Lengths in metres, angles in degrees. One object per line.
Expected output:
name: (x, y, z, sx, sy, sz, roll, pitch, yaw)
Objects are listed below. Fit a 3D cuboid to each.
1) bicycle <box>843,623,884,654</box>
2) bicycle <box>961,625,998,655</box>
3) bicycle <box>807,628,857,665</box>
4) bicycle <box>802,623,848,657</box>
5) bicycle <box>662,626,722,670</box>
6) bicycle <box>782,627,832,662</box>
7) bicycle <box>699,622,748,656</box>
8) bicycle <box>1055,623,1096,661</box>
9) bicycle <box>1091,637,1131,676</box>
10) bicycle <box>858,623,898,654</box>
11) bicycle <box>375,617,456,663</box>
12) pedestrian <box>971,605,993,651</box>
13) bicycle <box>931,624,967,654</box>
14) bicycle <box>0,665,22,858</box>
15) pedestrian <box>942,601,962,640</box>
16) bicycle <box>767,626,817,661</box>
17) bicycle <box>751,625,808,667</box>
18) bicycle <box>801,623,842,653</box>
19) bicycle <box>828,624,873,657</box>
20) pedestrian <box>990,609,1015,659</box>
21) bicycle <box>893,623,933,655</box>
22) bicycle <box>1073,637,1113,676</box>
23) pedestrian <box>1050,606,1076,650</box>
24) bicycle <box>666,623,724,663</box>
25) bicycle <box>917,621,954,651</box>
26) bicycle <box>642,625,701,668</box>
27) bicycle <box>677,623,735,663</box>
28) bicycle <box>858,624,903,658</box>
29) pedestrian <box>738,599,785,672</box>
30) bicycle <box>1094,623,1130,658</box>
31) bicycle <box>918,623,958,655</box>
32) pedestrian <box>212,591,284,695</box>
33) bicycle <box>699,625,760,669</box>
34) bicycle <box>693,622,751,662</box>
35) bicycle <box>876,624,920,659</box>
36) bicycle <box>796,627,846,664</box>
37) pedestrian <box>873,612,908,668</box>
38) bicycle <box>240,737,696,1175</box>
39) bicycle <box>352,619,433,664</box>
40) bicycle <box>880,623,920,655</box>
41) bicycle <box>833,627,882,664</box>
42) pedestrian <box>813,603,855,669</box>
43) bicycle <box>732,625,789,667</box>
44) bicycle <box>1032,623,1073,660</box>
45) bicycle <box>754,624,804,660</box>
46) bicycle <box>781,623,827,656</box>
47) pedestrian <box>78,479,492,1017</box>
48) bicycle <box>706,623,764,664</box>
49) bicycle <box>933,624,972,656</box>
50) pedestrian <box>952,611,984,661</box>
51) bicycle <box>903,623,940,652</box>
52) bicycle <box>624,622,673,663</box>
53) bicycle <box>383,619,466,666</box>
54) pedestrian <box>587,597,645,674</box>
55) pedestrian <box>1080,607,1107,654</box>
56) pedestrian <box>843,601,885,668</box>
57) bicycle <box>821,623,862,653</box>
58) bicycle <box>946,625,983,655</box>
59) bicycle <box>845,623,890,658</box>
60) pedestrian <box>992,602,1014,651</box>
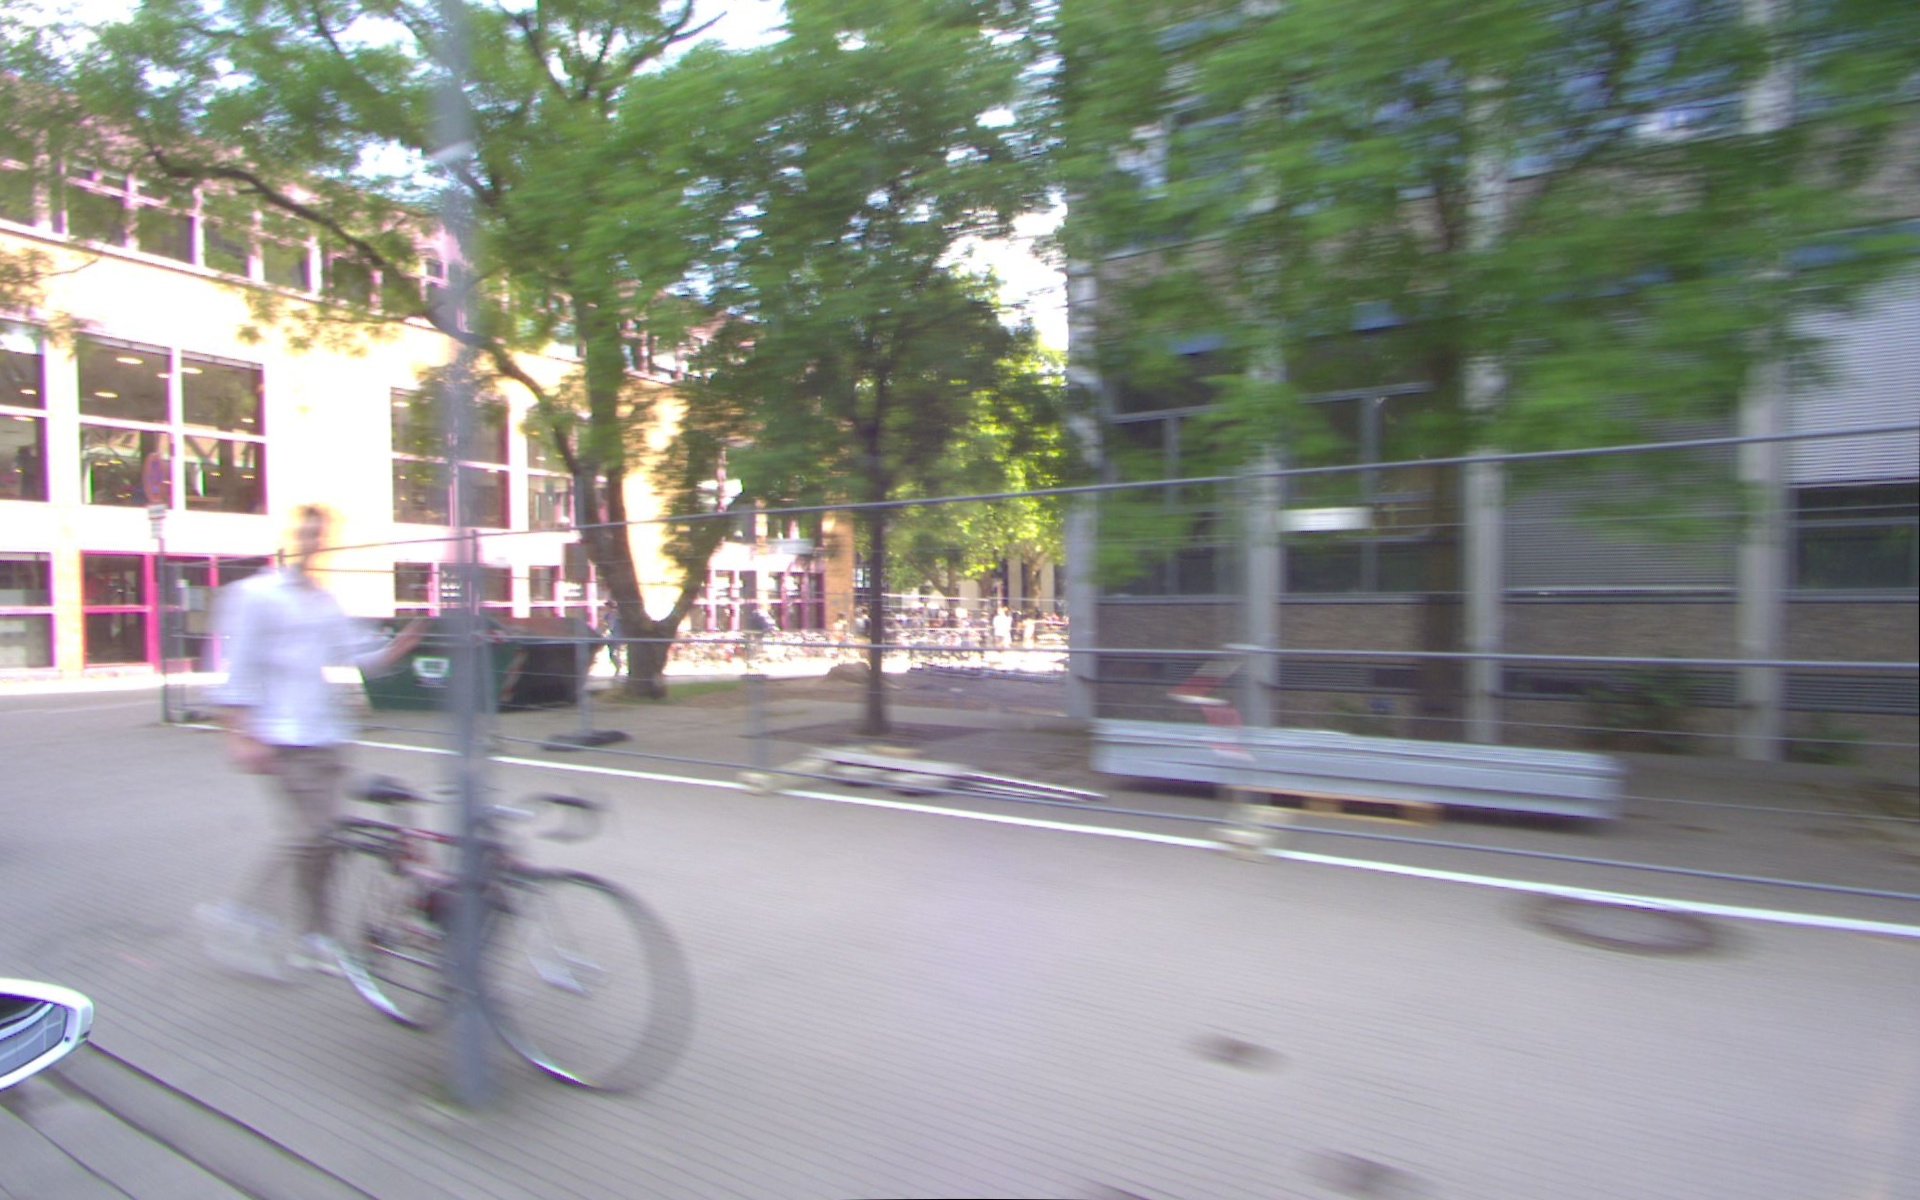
bicycle: (-3.849, 1.535, 40.088, 0.537, 1.184, 1.994, 0, -2, 30)
bicycle: (0.778, 1.581, 39.759, 0.537, 1.184, 1.994, 0, -2, 30)
bicycle: (-4.229, 1.530, 33.216, 0.537, 1.184, 1.994, 0, -2, 30)
bicycle: (-4.912, 1.453, 36.550, 0.537, 1.184, 1.994, 0, -2, 30)
bicycle: (-7.534, 1.347, 28.222, 0.467, 1.184, 1.803, 0, -2, 32)
bicycle: (-5.223, 1.516, 34.312, 0.537, 1.184, 1.994, 0, -2, 30)
bicycle: (-8.585, 1.419, 36.393, 0.537, 1.184, 1.995, 0, -2, 28)
bicycle: (3.763, 1.358, 32.474, 0.537, 1.184, 1.994, 0, -2, 30)
bicycle: (4.829, 1.777, 31.945, 0.537, 1.184, 1.994, 0, -2, 30)
bicycle: (-3.250, 1.524, 39.732, 0.537, 1.184, 1.994, 0, -2, 30)
bicycle: (-13.883, 1.009, 25.590, 0.516, 1.124, 1.807, 0, -1, 31)
pedestrian: (0.859, 1.060, 38.682, 0.671, 1.751, 0.904, 1, 0, 10)
bicycle: (-0.430, 1.576, 40.570, 0.537, 1.184, 1.994, 0, -2, 30)
bicycle: (-6.440, 0.948, 6.036, 1.723, 1.107, 0.707, 0, 0, 31)
pedestrian: (-0.363, 0.972, 48.537, 0.672, 1.846, 0.903, -3, -1, 16)
bicycle: (-5.786, 1.498, 34.610, 0.537, 1.184, 1.994, 0, -2, 30)
bicycle: (-5.333, 1.354, 29.626, 0.467, 1.184, 1.994, 0, -2, 30)
bicycle: (-5.693, 1.556, 41.261, 0.537, 1.184, 1.994, 0, -2, 30)
bicycle: (-3.954, 1.461, 36.201, 0.537, 1.184, 1.994, 0, -2, 30)
pedestrian: (1.552, 1.213, 36.228, 0.672, 1.750, 0.904, -3, -1, 15)
bicycle: (-1.798, 1.502, 38.555, 0.537, 1.184, 1.994, 0, -2, 30)
bicycle: (4.305, 1.801, 32.219, 0.537, 1.184, 1.994, 0, -2, 30)
pedestrian: (4.404, 1.201, 42.939, 0.673, 1.846, 0.902, -2, -1, -23)
bicycle: (-8.244, 1.335, 31.243, 0.467, 1.184, 1.994, 0, -2, 30)
bicycle: (-0.975, 1.468, 41.032, 0.537, 1.184, 1.994, 0, -2, 30)
bicycle: (-8.201, 1.311, 28.561, 0.467, 1.184, 1.804, 0, -2, 30)
bicycle: (-7.812, 1.327, 30.868, 0.467, 1.184, 1.994, 0, -2, 30)
bicycle: (-2.803, 1.448, 35.409, 0.537, 1.184, 1.994, 0, -2, 30)
pedestrian: (-4.876, 0.870, 24.642, 0.674, 1.750, 0.901, -3, -1, 27)
bicycle: (5.365, 1.420, 35.275, 0.537, 1.184, 1.994, 0, -2, 30)
bicycle: (-0.820, 1.502, 38.217, 0.537, 1.184, 1.994, 0, -2, 30)
pedestrian: (-11.825, 0.711, 16.631, 0.581, 1.672, 0.848, -1, -1, 39)
bicycle: (-6.399, 1.292, 27.920, 0.468, 1.184, 1.801, 0, -2, 35)
bicycle: (-7.285, 1.279, 30.735, 0.467, 1.184, 1.994, 0, -2, 30)
bicycle: (-2.156, 1.446, 35.152, 0.537, 1.184, 1.994, 0, -2, 30)
bicycle: (-4.655, 1.524, 33.656, 0.537, 1.184, 1.994, 0, -2, 30)
pedestrian: (-2.220, 1.269, 31.880, 0.674, 1.750, 0.901, -3, -1, 27)
bicycle: (-1.596, 0.981, 3.126, 1.707, 0.949, 0.395, 0, 2, 31)
bicycle: (-14.650, 1.063, 25.883, 0.516, 1.124, 1.807, 0, -1, 30)
bicycle: (-2.338, 1.516, 39.044, 0.537, 1.184, 1.994, 0, -2, 30)
bicycle: (-3.386, 1.500, 33.214, 0.537, 1.184, 1.994, 0, -2, 30)
pedestrian: (-3.437, 0.987, 27.375, 0.674, 1.750, 0.901, -3, -1, 27)
bicycle: (-5.918, 1.363, 29.828, 0.467, 1.184, 1.994, 0, -2, 30)
bicycle: (3.040, 1.349, 32.802, 0.537, 1.184, 1.994, 0, -2, 30)
bicycle: (-6.292, 1.457, 34.883, 0.537, 1.184, 1.994, 0, -2, 30)
bicycle: (-5.779, 1.459, 37.102, 0.537, 1.184, 1.994, 0, -2, 30)
pedestrian: (-2.586, 0.521, 3.936, 1.096, 1.869, 0.786, 0, -1, 7)
bicycle: (-6.817, 1.317, 30.394, 0.467, 1.184, 1.994, 0, -2, 30)
bicycle: (-0.263, 1.498, 37.697, 0.537, 1.184, 1.994, 0, -2, 30)
pedestrian: (0.291, 1.290, 36.137, 0.676, 1.750, 0.898, -3, -1, 38)
bicycle: (-1.565, 1.557, 41.466, 0.537, 1.184, 1.994, 0, -2, 30)
bicycle: (-9.135, 1.242, 29.412, 0.465, 1.184, 1.810, 0, -2, 15)
bicycle: (-13.186, 1.033, 24.713, 0.516, 1.124, 1.808, 0, -1, 29)
pedestrian: (-7.740, 0.792, 22.552, 0.695, 1.672, 1.040, -1, -1, 39)
pedestrian: (5.093, 1.164, 38.133, 0.674, 1.750, 0.901, -3, -1, 27)
pedestrian: (-2.591, 0.925, 27.104, 0.674, 1.750, 0.901, -3, -1, 27)
bicycle: (-4.787, 1.537, 40.578, 0.537, 1.184, 1.994, 0, -2, 30)
bicycle: (0.190, 1.596, 40.219, 0.537, 1.184, 1.994, 0, -2, 30)
bicycle: (-3.272, 1.441, 35.731, 0.537, 1.184, 1.994, 0, -2, 30)
pedestrian: (1.653, 1.010, 38.461, 0.672, 1.847, 0.904, 0, 0, 12)
